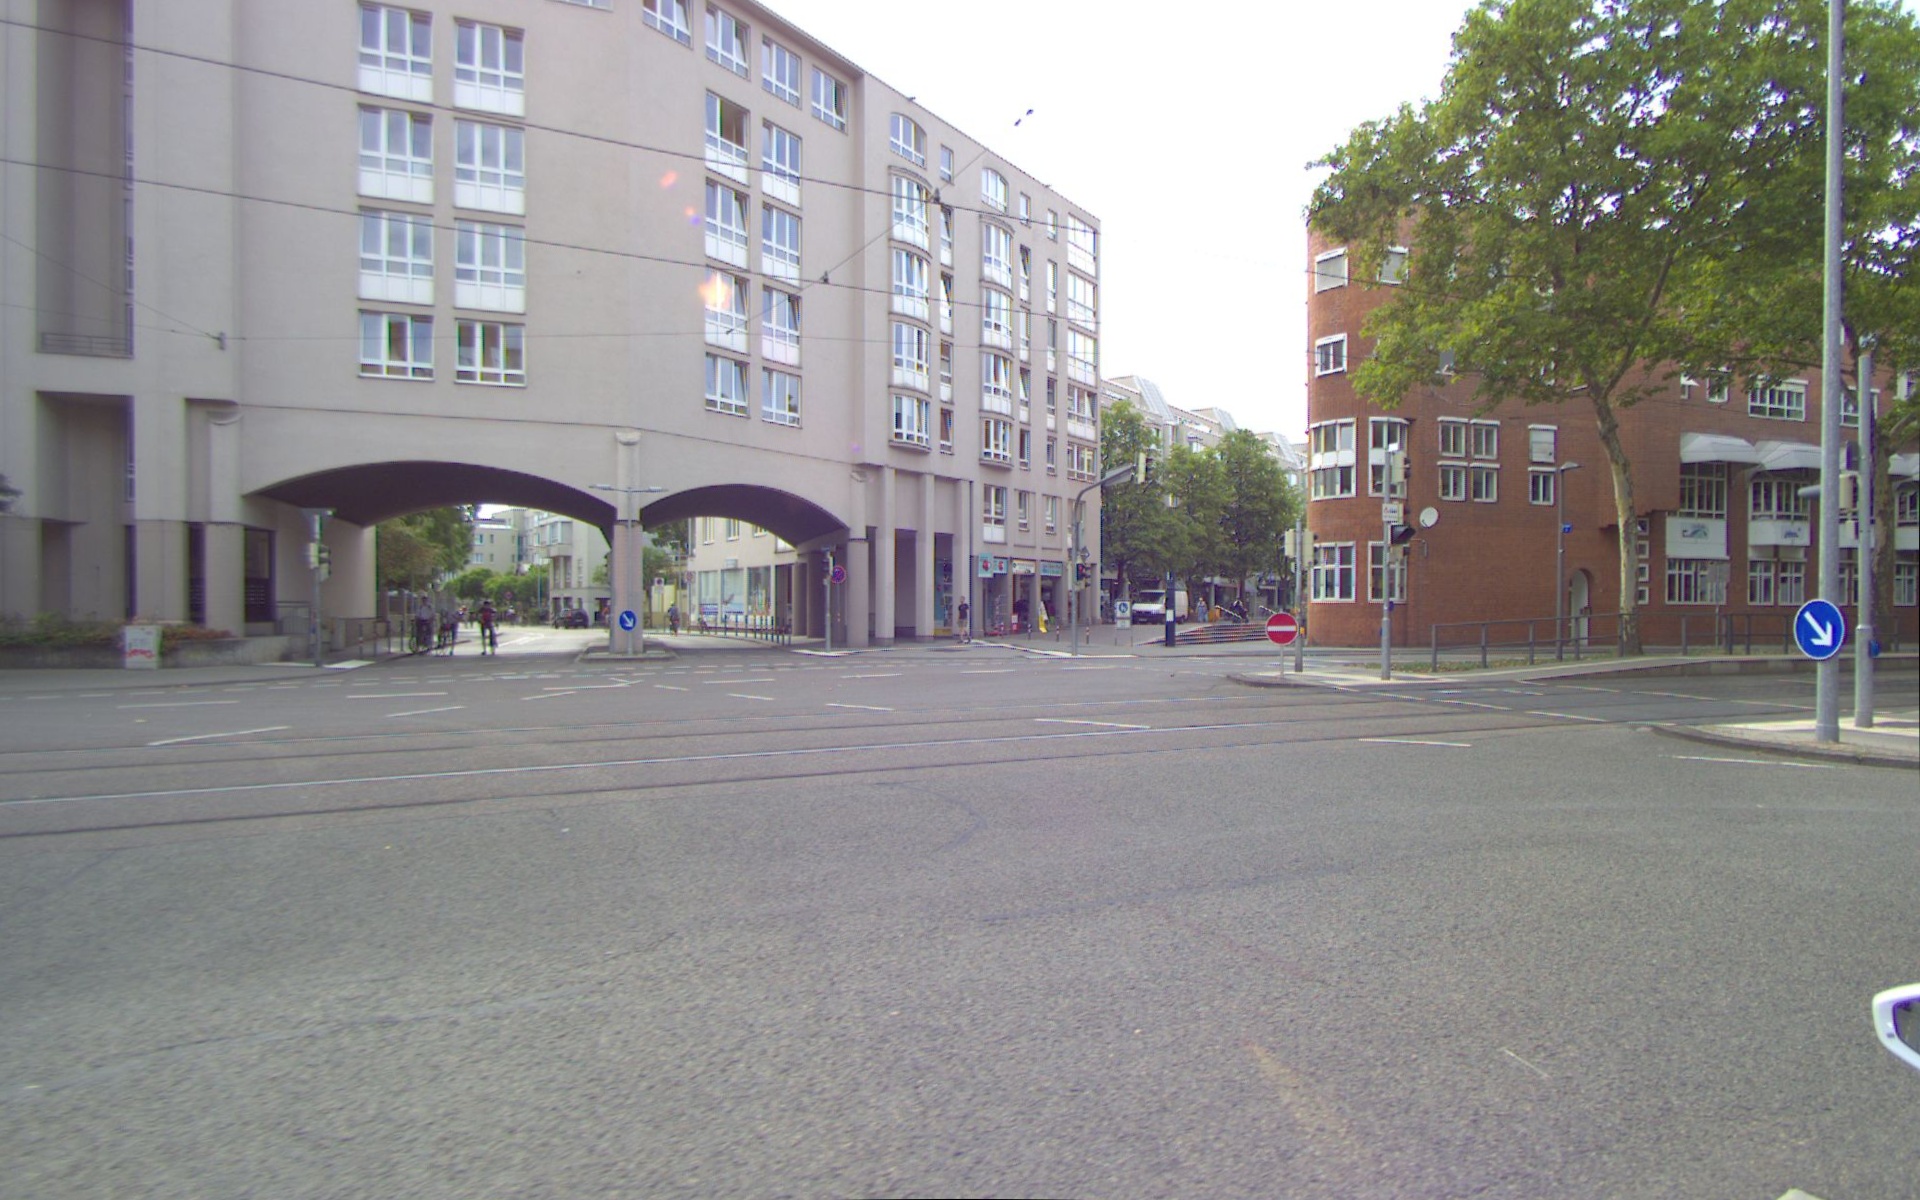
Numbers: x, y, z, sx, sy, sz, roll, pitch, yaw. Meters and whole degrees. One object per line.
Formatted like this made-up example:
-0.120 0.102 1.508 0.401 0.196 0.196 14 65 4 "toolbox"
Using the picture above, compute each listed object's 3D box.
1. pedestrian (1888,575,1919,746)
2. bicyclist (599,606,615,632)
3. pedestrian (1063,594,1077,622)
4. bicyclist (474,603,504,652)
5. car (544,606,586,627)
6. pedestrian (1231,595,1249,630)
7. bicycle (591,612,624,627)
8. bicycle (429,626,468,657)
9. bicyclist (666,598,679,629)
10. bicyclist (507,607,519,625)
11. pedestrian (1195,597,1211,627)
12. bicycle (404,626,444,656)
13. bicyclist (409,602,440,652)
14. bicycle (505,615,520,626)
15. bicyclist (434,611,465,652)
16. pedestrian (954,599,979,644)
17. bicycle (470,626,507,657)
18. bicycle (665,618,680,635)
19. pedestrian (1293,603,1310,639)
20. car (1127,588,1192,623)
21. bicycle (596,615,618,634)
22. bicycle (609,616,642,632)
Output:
10.187 0.614 10.319 0.875 1.741 0.553 0 1 -13 "pedestrian"
-21.707 1.154 61.684 0.698 1.545 0.938 -1 1 -36 "bicyclist"
6.617 0.499 60.520 0.698 1.693 0.605 0 1 24 "pedestrian"
-15.434 0.885 32.953 0.755 1.559 0.879 0 0 -17 "bicyclist"
-30.069 1.246 76.456 1.696 1.584 3.949 0 0 -43 "car"
16.016 0.721 57.533 0.779 1.990 0.803 0 1 35 "pedestrian"
-24.957 1.384 71.178 2.090 1.062 0.657 0 1 -42 "bicycle"
-16.700 1.345 32.848 0.753 0.923 2.179 0 0 -16 "bicycle"
-14.967 0.711 52.329 0.574 1.583 1.029 0 0 -22 "bicyclist"
-36.799 1.315 82.607 0.701 1.472 0.810 0 0 -41 "bicyclist"
13.916 0.675 57.533 0.683 1.693 0.829 0 1 33 "pedestrian"
-18.092 1.361 33.921 0.753 0.923 2.179 0 0 -16 "bicycle"
-18.107 0.902 33.994 0.755 1.636 0.879 0 0 -17 "bicyclist"
-36.824 1.719 82.637 0.702 0.877 1.838 0 0 -40 "bicycle"
-16.703 1.021 32.869 0.755 1.322 0.879 0 0 -17 "bicyclist"
0.256 0.827 39.006 0.664 1.702 0.751 0 0 32 "pedestrian"
-15.418 1.340 32.917 0.753 0.923 2.179 0 0 -16 "bicycle"
-14.962 1.375 52.268 0.570 0.847 1.977 0 0 -22 "bicycle"
17.482 1.053 51.394 0.683 1.842 0.654 0 1 33 "pedestrian"
11.719 0.297 58.862 1.967 1.962 4.930 0 0 34 "car"
-21.705 1.497 61.691 0.706 1.062 2.085 -1 0 -35 "bicycle"
-23.427 1.650 70.393 2.089 1.063 0.629 0 1 -40 "bicycle"
